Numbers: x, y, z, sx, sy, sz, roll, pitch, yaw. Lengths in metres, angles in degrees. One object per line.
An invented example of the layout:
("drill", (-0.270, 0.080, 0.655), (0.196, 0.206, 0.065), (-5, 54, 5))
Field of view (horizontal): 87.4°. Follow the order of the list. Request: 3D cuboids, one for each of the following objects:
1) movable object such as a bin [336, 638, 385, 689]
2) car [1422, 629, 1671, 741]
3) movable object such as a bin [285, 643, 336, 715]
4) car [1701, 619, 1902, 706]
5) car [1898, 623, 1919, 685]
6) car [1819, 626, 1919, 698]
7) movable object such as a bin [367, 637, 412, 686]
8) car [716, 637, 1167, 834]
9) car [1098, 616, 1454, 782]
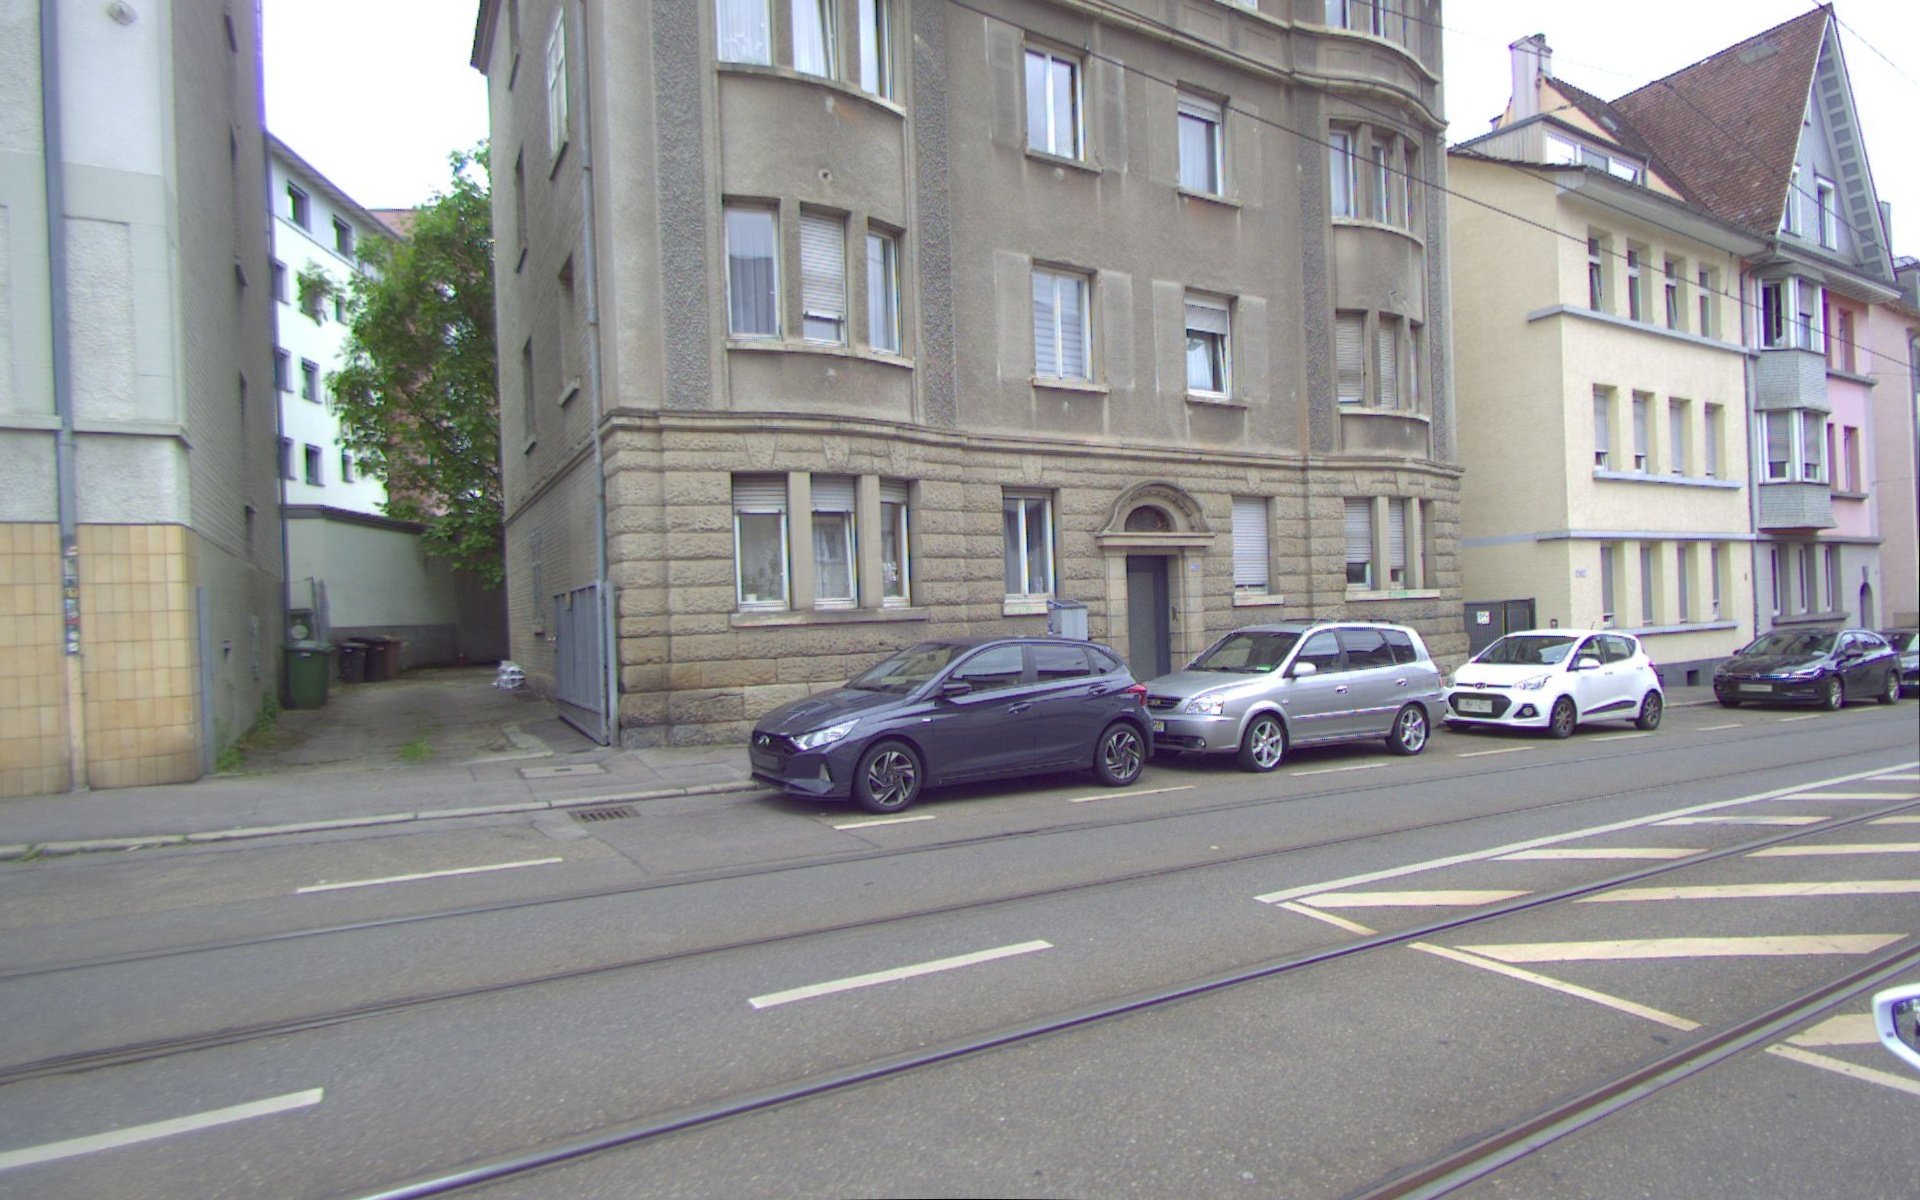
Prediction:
("movable object such as a bin", (-14.021, 1.470, 23.516), (0.645, 1.141, 0.966), (0, -1, -8))
("car", (8.739, 1.183, 14.921), (3.642, 1.482, 1.613), (1, -2, -30))
("movable object such as a bin", (-10.987, 1.316, 17.012), (0.649, 1.141, 0.960), (0, -1, -29))
("car", (16.070, 1.132, 19.122), (4.505, 1.493, 1.612), (1, -2, -32))
("car", (25.124, 1.318, 25.008), (4.002, 1.510, 1.612), (1, -2, -32))
("car", (20.880, 1.315, 22.193), (3.953, 1.429, 1.728), (0, -1, -31))
("movable object such as a bin", (-13.992, 1.491, 24.645), (0.645, 1.141, 0.966), (0, -1, -8))
("car", (-0.093, 1.098, 9.430), (3.988, 1.482, 1.612), (1, -2, -32))
("car", (3.831, 1.042, 11.929), (4.302, 1.625, 1.612), (0, -2, -32))
